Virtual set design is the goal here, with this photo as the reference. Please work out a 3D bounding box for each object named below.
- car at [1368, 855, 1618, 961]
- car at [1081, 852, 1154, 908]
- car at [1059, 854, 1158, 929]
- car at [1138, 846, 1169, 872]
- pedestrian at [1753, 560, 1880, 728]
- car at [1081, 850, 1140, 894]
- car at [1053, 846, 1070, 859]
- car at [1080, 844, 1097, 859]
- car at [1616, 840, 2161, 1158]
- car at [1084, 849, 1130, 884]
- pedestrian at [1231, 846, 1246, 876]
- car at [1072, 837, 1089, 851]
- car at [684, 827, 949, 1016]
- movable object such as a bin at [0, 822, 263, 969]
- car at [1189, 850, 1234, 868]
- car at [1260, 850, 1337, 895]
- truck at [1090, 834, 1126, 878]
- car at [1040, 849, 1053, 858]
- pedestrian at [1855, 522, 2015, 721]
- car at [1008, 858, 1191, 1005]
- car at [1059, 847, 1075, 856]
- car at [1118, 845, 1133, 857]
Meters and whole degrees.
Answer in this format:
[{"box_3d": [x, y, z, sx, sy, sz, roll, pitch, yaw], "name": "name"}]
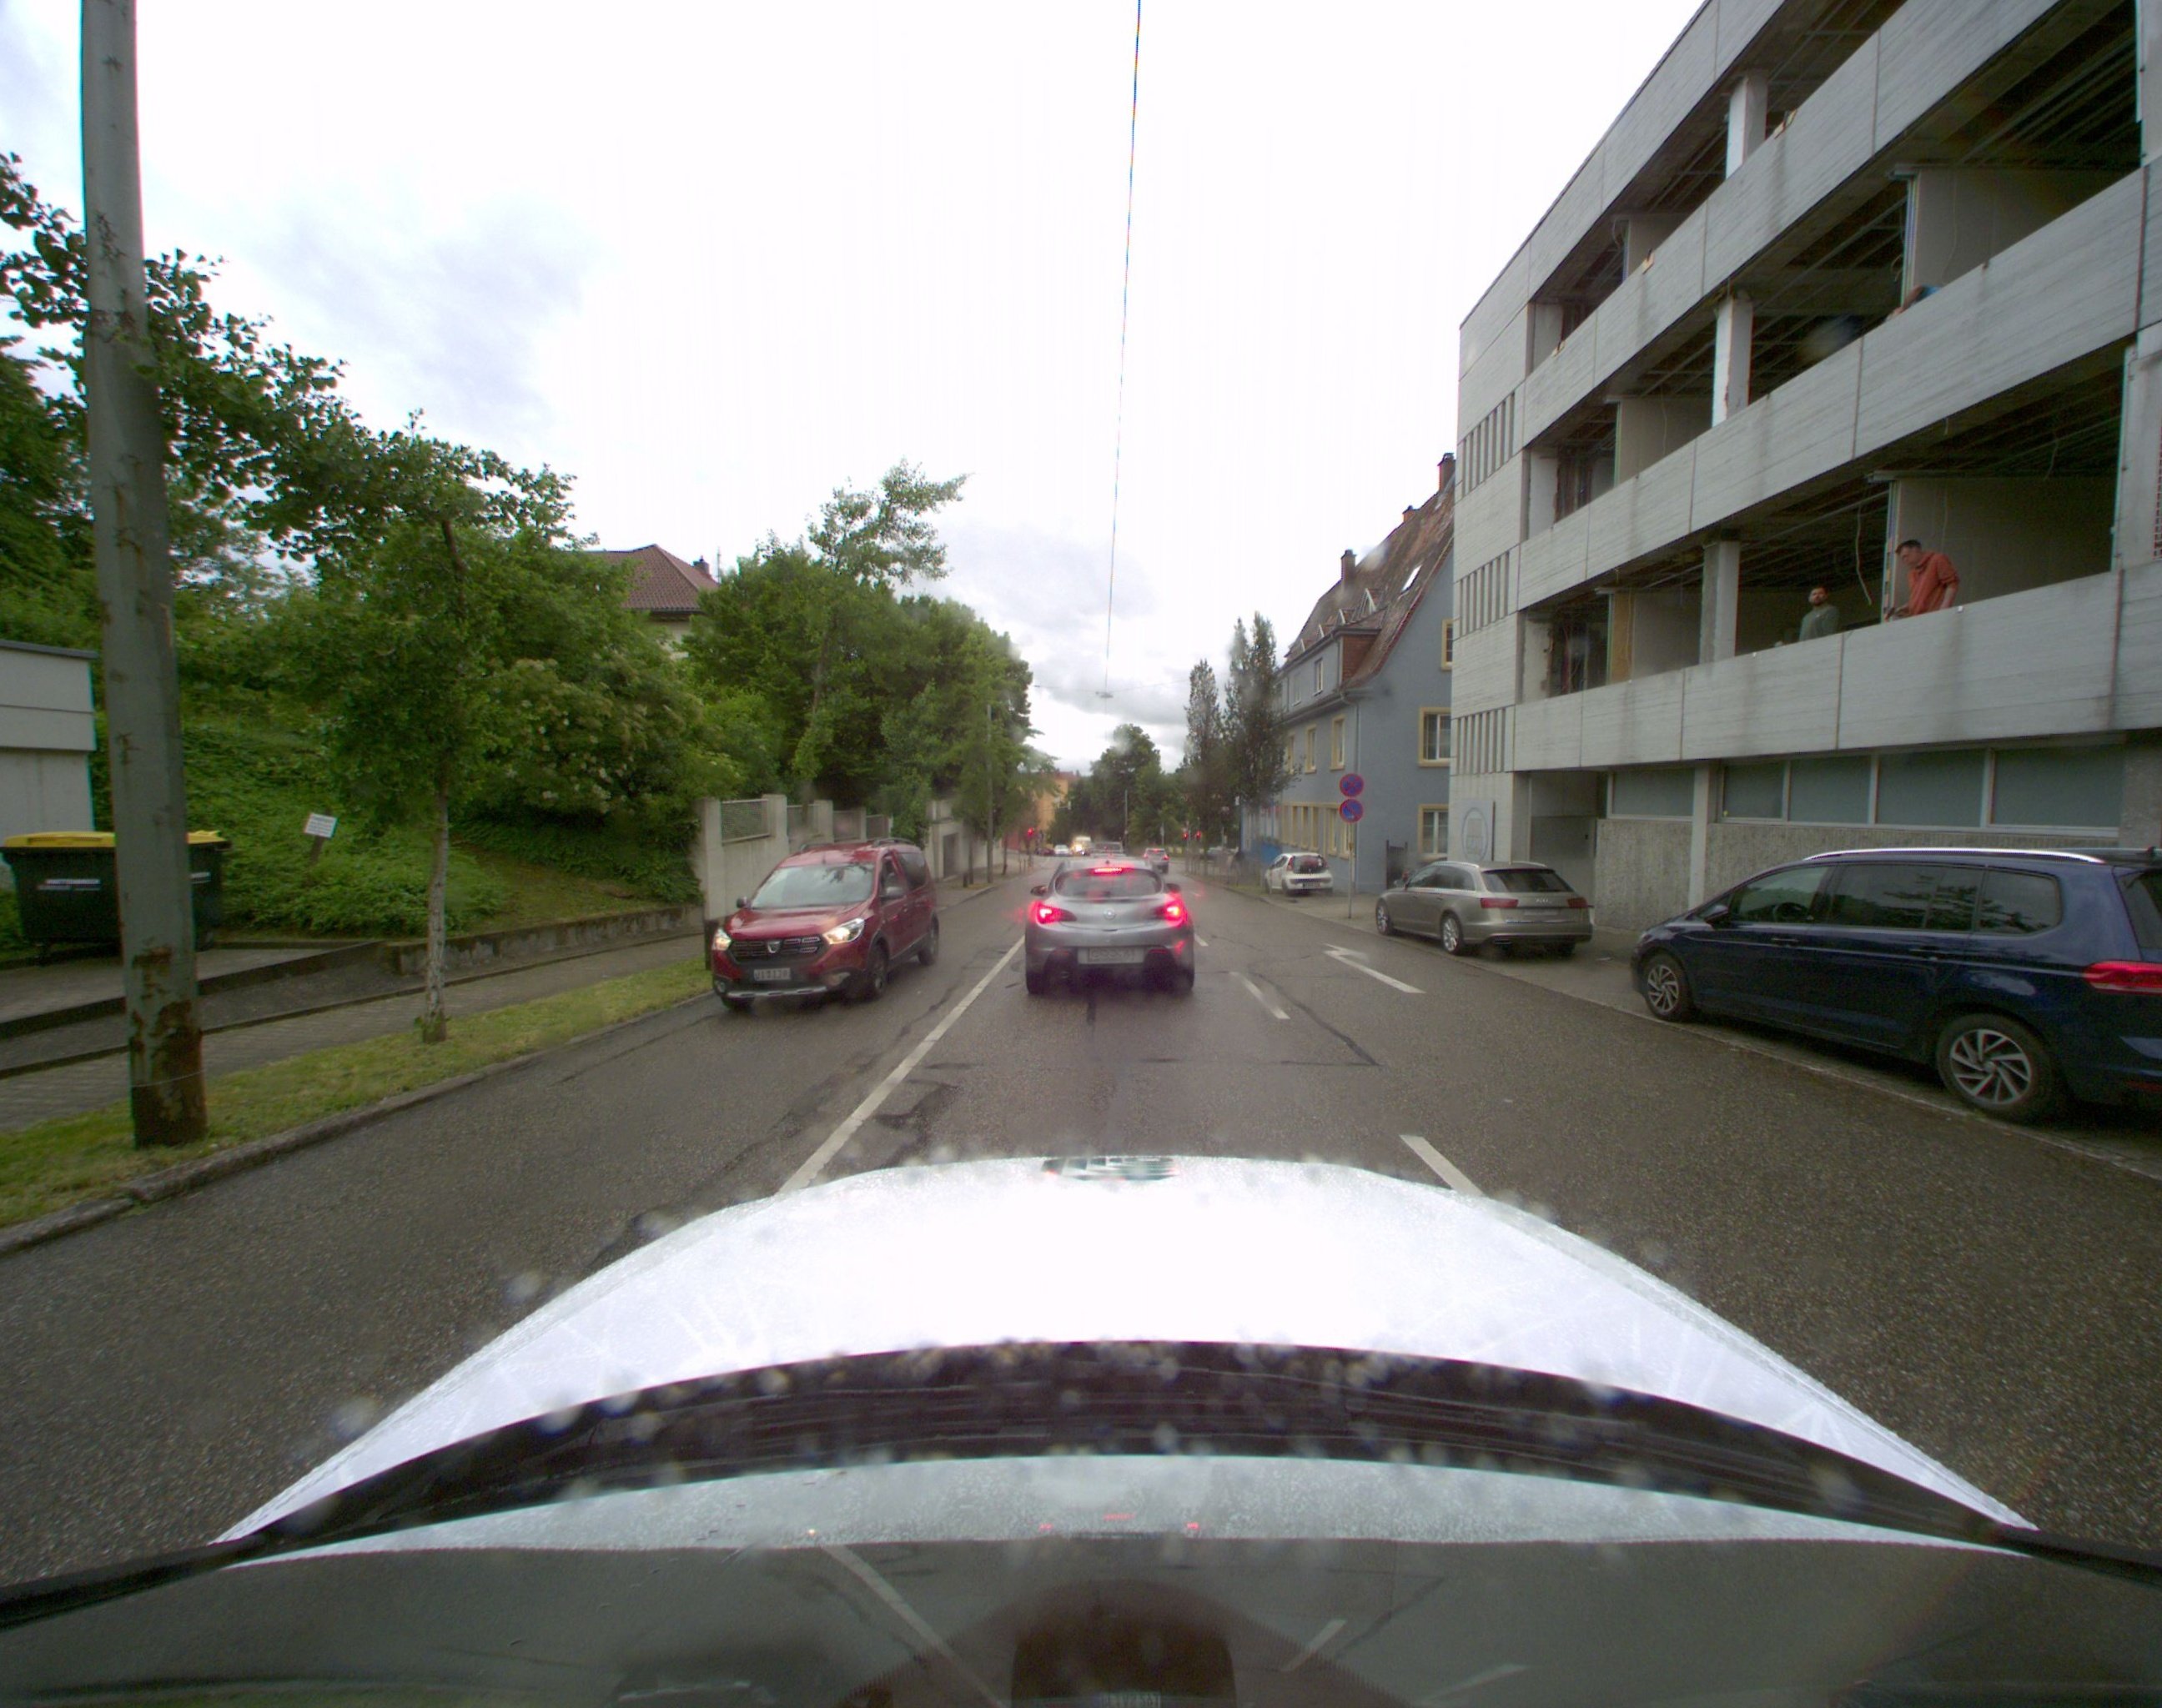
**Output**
[{"box_3d": [6.628, 0.767, 13.789, 1.956, 1.448, 4.526, 0, 0, 0], "name": "car"}, {"box_3d": [1.017, 0.697, 24.174, 1.955, 1.448, 4.306, 1, 0, 1], "name": "car"}, {"box_3d": [0.581, 0.753, 18.458, 1.955, 1.448, 4.306, 1, 0, 1], "name": "car"}, {"box_3d": [4.899, 0.317, 55.176, 1.717, 1.714, 3.879, -1, 0, 0], "name": "car"}, {"box_3d": [9.742, -2.744, 10.822, 0.904, 2.014, 0.861, 0, -1, 1], "name": "pedestrian"}, {"box_3d": [1.021, 0.598, 29.558, 1.955, 1.448, 4.306, 1, 0, 1], "name": "car"}, {"box_3d": [-2.235, -0.188, 92.845, 1.717, 1.460, 3.880, -1, 0, 1], "name": "car"}, {"box_3d": [0.846, -0.313, 92.792, 1.864, 1.638, 3.880, -1, 0, 1], "name": "car"}, {"box_3d": [6.292, 0.716, 6.183, 1.723, 1.599, 4.160, -1, 0, 0], "name": "car"}, {"box_3d": [1.159, 0.520, 37.222, 1.955, 1.448, 4.306, 1, 0, 1], "name": "car"}, {"box_3d": [9.422, 0.403, 48.636, 0.780, 1.729, 0.651, 1, 0, 1], "name": "pedestrian"}, {"box_3d": [-0.070, -1.243, 100.459, 1.721, 1.638, 3.870, -1, 0, -7], "name": "car"}, {"box_3d": [-3.001, 0.680, 10.355, 1.740, 1.828, 4.460, -2, 0, 2], "name": "car"}, {"box_3d": [-10.031, 0.396, 8.660, 1.296, 1.363, 1.225, 0, 6, -5], "name": "movable object such as a bin"}, {"box_3d": [12.485, 0.475, 77.883, 3.830, 1.638, 1.739, -1, 0, 28], "name": "car"}, {"box_3d": [7.564, 0.609, 28.659, 1.717, 1.448, 3.880, -1, 0, 1], "name": "car"}, {"box_3d": [1.499, 0.083, 47.222, 1.955, 2.429, 4.936, 1, 0, 1], "name": "truck"}, {"box_3d": [-6.765, -0.036, 158.522, 1.726, 1.638, 3.859, -1, 0, -16], "name": "car"}, {"box_3d": [9.635, -2.583, 9.227, 0.904, 2.014, 0.861, 0, -1, 1], "name": "pedestrian"}, {"box_3d": [0.191, 0.783, 10.084, 1.831, 1.434, 3.879, 0, 0, 0], "name": "car"}, {"box_3d": [-2.409, -0.440, 139.640, 1.726, 1.543, 3.859, -1, 0, -16], "name": "car"}, {"box_3d": [5.938, -0.394, 108.975, 1.718, 1.638, 3.877, -1, 0, -2], "name": "car"}]
